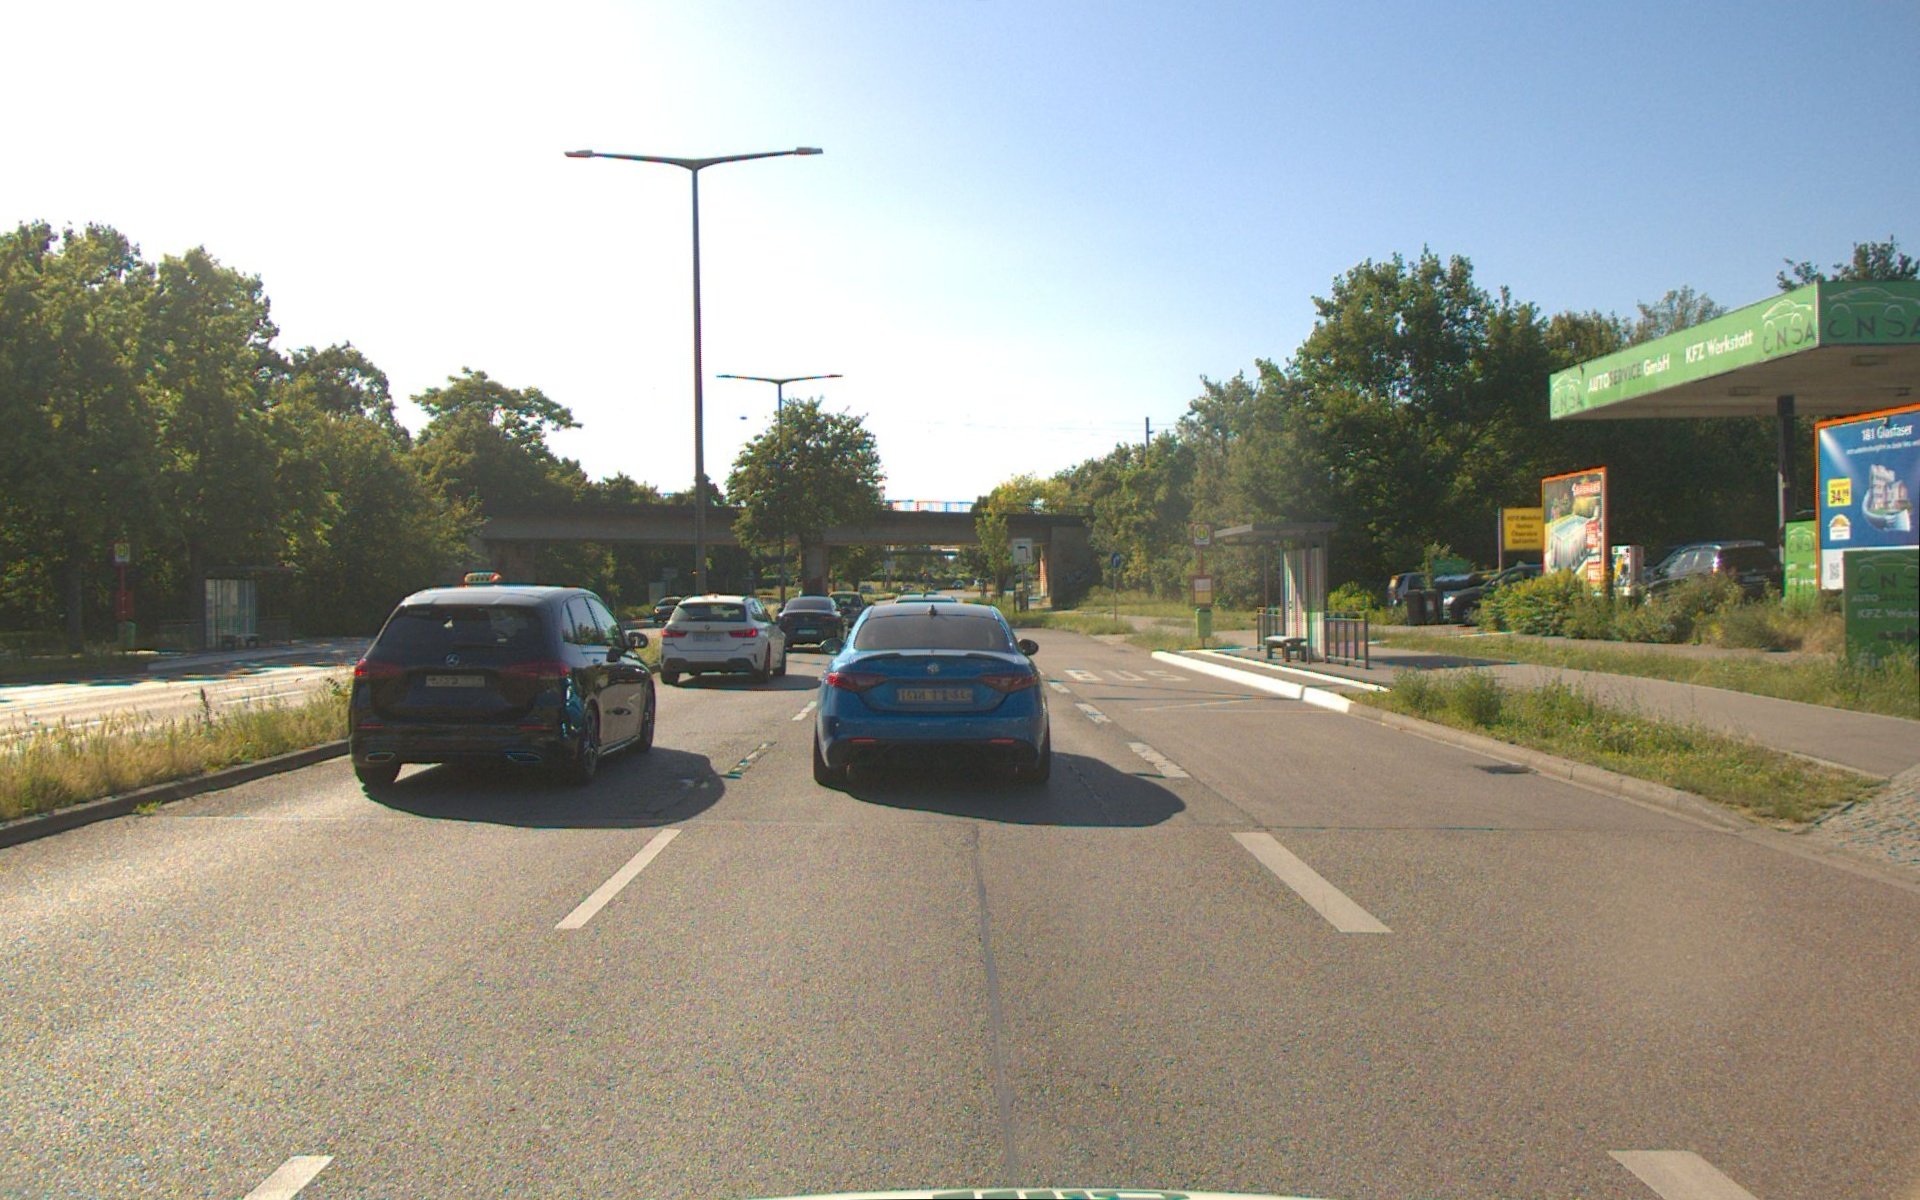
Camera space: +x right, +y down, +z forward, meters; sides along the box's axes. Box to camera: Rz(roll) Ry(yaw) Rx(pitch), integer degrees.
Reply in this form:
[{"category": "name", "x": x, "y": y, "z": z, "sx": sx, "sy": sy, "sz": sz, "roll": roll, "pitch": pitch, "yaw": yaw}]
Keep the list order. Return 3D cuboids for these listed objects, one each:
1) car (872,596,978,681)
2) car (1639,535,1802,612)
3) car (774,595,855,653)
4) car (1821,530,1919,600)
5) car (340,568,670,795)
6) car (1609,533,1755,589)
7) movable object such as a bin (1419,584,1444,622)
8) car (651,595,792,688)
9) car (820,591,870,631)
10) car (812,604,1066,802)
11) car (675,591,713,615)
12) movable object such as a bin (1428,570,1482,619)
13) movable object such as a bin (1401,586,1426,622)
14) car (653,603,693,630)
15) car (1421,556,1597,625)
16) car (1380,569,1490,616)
[{"category": "car", "x": -0.654, "y": 0.675, "z": 31.186, "sx": 1.845, "sy": 1.479, "sz": 4.525, "roll": 0, "pitch": 0, "yaw": -1}, {"category": "car", "x": 16.978, "y": -0.575, "z": 37.162, "sx": 1.709, "sy": 1.600, "sz": 4.248, "roll": -1, "pitch": 0, "yaw": 0}, {"category": "car", "x": -3.868, "y": 0.613, "z": 44.543, "sx": 1.845, "sy": 1.479, "sz": 4.525, "roll": 0, "pitch": 0, "yaw": -1}, {"category": "car", "x": 21.476, "y": -0.759, "z": 36.539, "sx": 1.979, "sy": 1.512, "sz": 3.947, "roll": 1, "pitch": 0, "yaw": -37}, {"category": "car", "x": -3.647, "y": 0.589, "z": 14.021, "sx": 1.673, "sy": 1.626, "sz": 4.223, "roll": 0, "pitch": 0, "yaw": -1}, {"category": "car", "x": 23.694, "y": -1.276, "z": 54.363, "sx": 3.955, "sy": 1.558, "sz": 1.734, "roll": -3, "pitch": 0, "yaw": 0}, {"category": "movable object such as a bin", "x": 14.425, "y": 0.081, "z": 50.614, "sx": 0.577, "sy": 1.140, "sz": 0.502, "roll": -1, "pitch": 0, "yaw": -43}, {"category": "car", "x": -4.051, "y": 0.663, "z": 28.749, "sx": 1.845, "sy": 1.479, "sz": 4.525, "roll": 0, "pitch": 0, "yaw": -1}, {"category": "car", "x": -4.513, "y": 0.396, "z": 65.468, "sx": 1.743, "sy": 1.479, "sz": 4.181, "roll": -1, "pitch": 0, "yaw": -1}, {"category": "car", "x": -0.182, "y": 0.755, "z": 14.185, "sx": 1.845, "sy": 1.431, "sz": 4.223, "roll": 0, "pitch": 0, "yaw": -1}, {"category": "car", "x": -17.579, "y": 0.201, "z": 109.540, "sx": 1.780, "sy": 1.460, "sz": 4.629, "roll": -3, "pitch": 0, "yaw": -1}, {"category": "movable object such as a bin", "x": 14.932, "y": -0.180, "z": 49.886, "sx": 0.981, "sy": 1.453, "sz": 1.240, "roll": -1, "pitch": 1, "yaw": -43}, {"category": "movable object such as a bin", "x": 13.967, "y": 0.106, "z": 50.937, "sx": 0.577, "sy": 1.093, "sz": 0.502, "roll": -1, "pitch": 0, "yaw": -43}, {"category": "car", "x": -16.872, "y": 0.934, "z": 97.308, "sx": 1.608, "sy": 1.476, "sz": 4.110, "roll": -3, "pitch": 0, "yaw": -1}, {"category": "car", "x": 15.627, "y": -0.275, "z": 47.140, "sx": 4.459, "sy": 1.668, "sz": 1.799, "roll": -4, "pitch": 0, "yaw": 29}, {"category": "car", "x": 15.968, "y": -0.249, "z": 55.682, "sx": 3.216, "sy": 1.512, "sz": 1.772, "roll": 0, "pitch": 0, "yaw": 0}]
